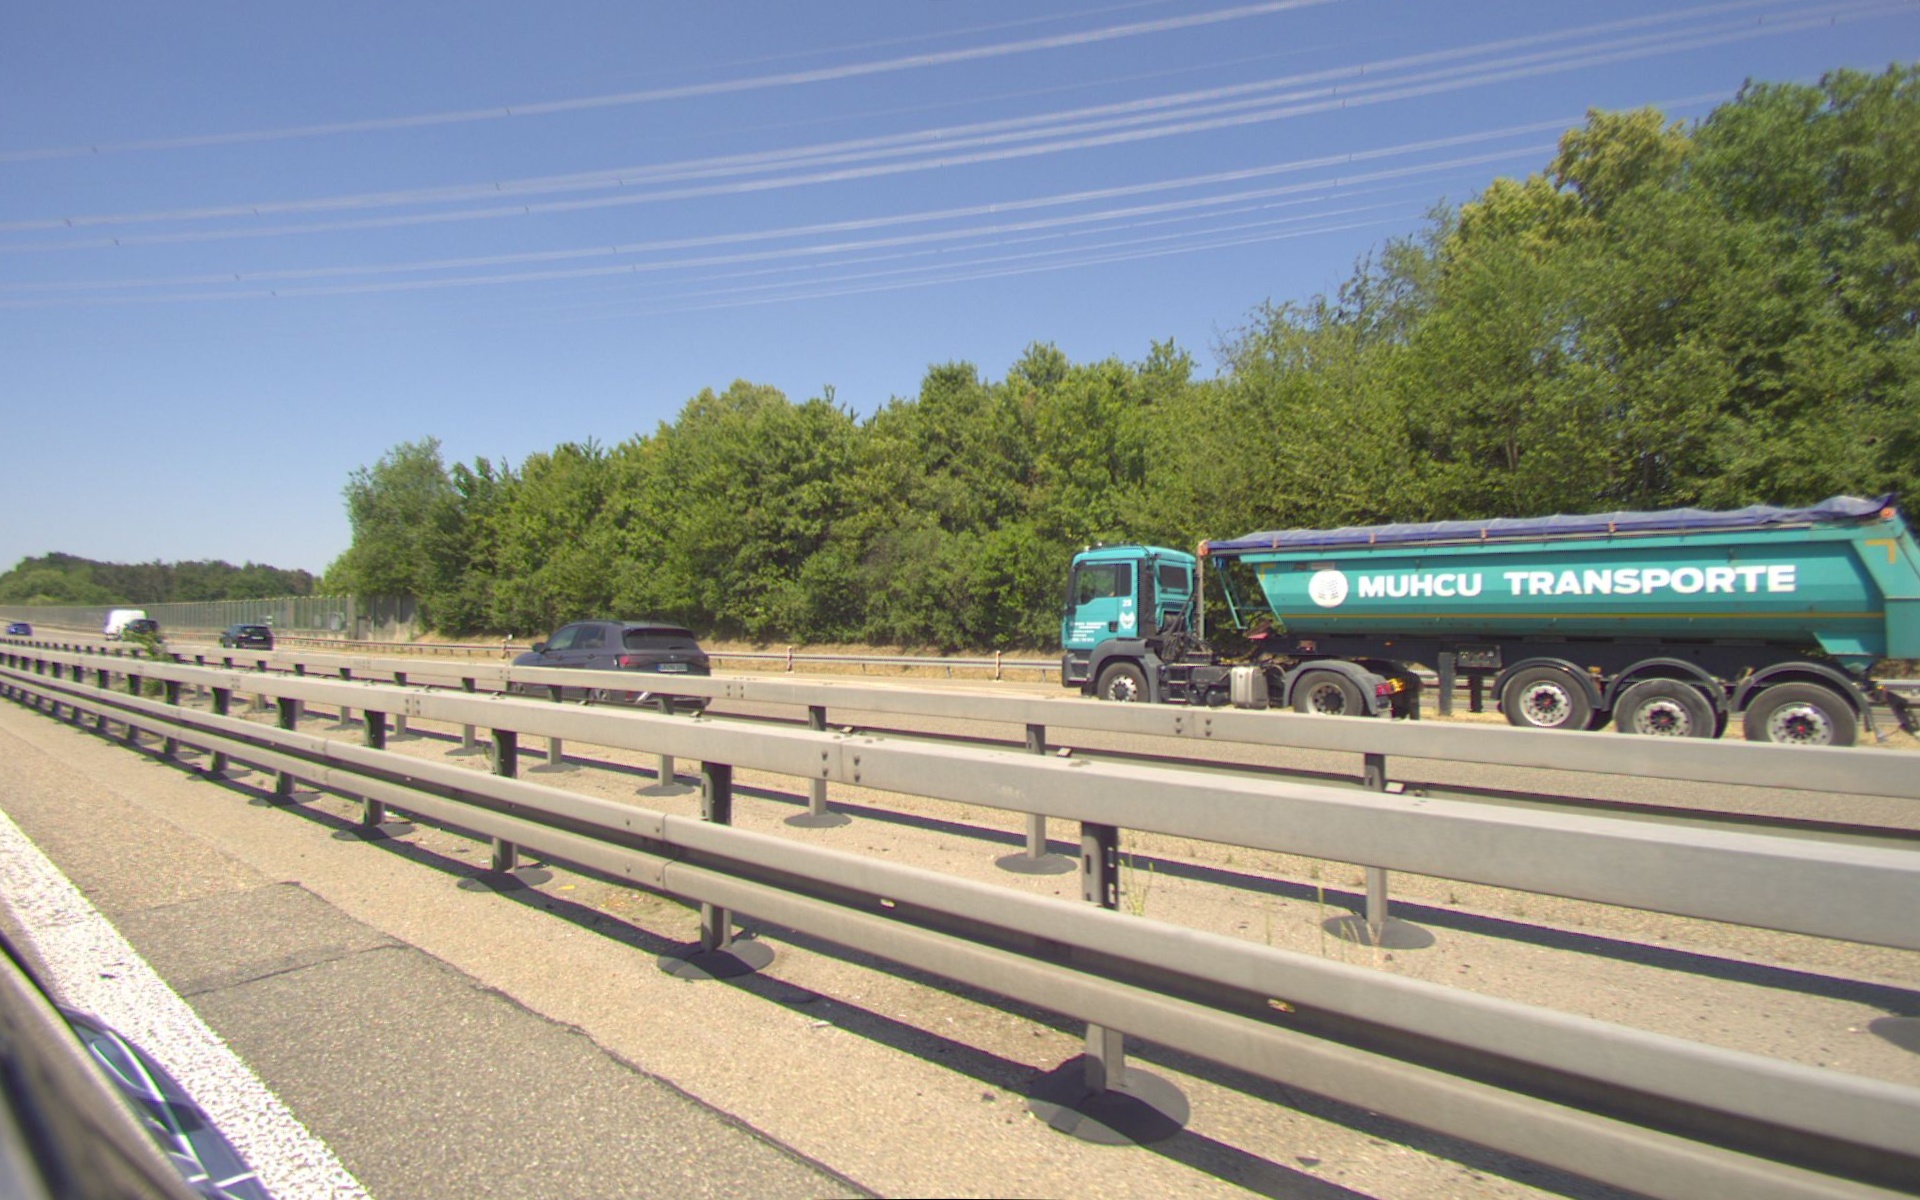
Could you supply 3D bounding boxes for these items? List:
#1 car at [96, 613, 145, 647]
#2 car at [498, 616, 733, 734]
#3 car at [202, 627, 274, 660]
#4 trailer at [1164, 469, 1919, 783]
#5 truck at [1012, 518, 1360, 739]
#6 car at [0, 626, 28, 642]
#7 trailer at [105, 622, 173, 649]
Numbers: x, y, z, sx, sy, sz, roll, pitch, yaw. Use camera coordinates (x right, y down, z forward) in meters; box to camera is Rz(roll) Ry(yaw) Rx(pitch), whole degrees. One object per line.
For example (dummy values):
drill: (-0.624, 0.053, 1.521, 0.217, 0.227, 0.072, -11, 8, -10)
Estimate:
car: (-68.767, 2.457, 82.832, 6.001, 2.660, 2.087, -1, -3, 41)
car: (-5.530, 1.087, 16.016, 3.998, 1.637, 1.763, -1, -2, 41)
car: (-40.854, 2.456, 57.220, 4.509, 1.813, 2.136, -1, -3, 39)
trailer: (7.946, 0.374, 14.533, 9.705, 3.326, 2.883, -1, -2, 41)
truck: (3.910, 0.501, 18.057, 5.328, 3.326, 2.884, -1, -2, 41)
car: (-93.326, 3.345, 99.730, 4.353, 1.485, 1.763, -1, -4, 42)
trailer: (-63.886, 2.753, 78.728, 6.717, 1.961, 2.737, -1, -3, 39)
